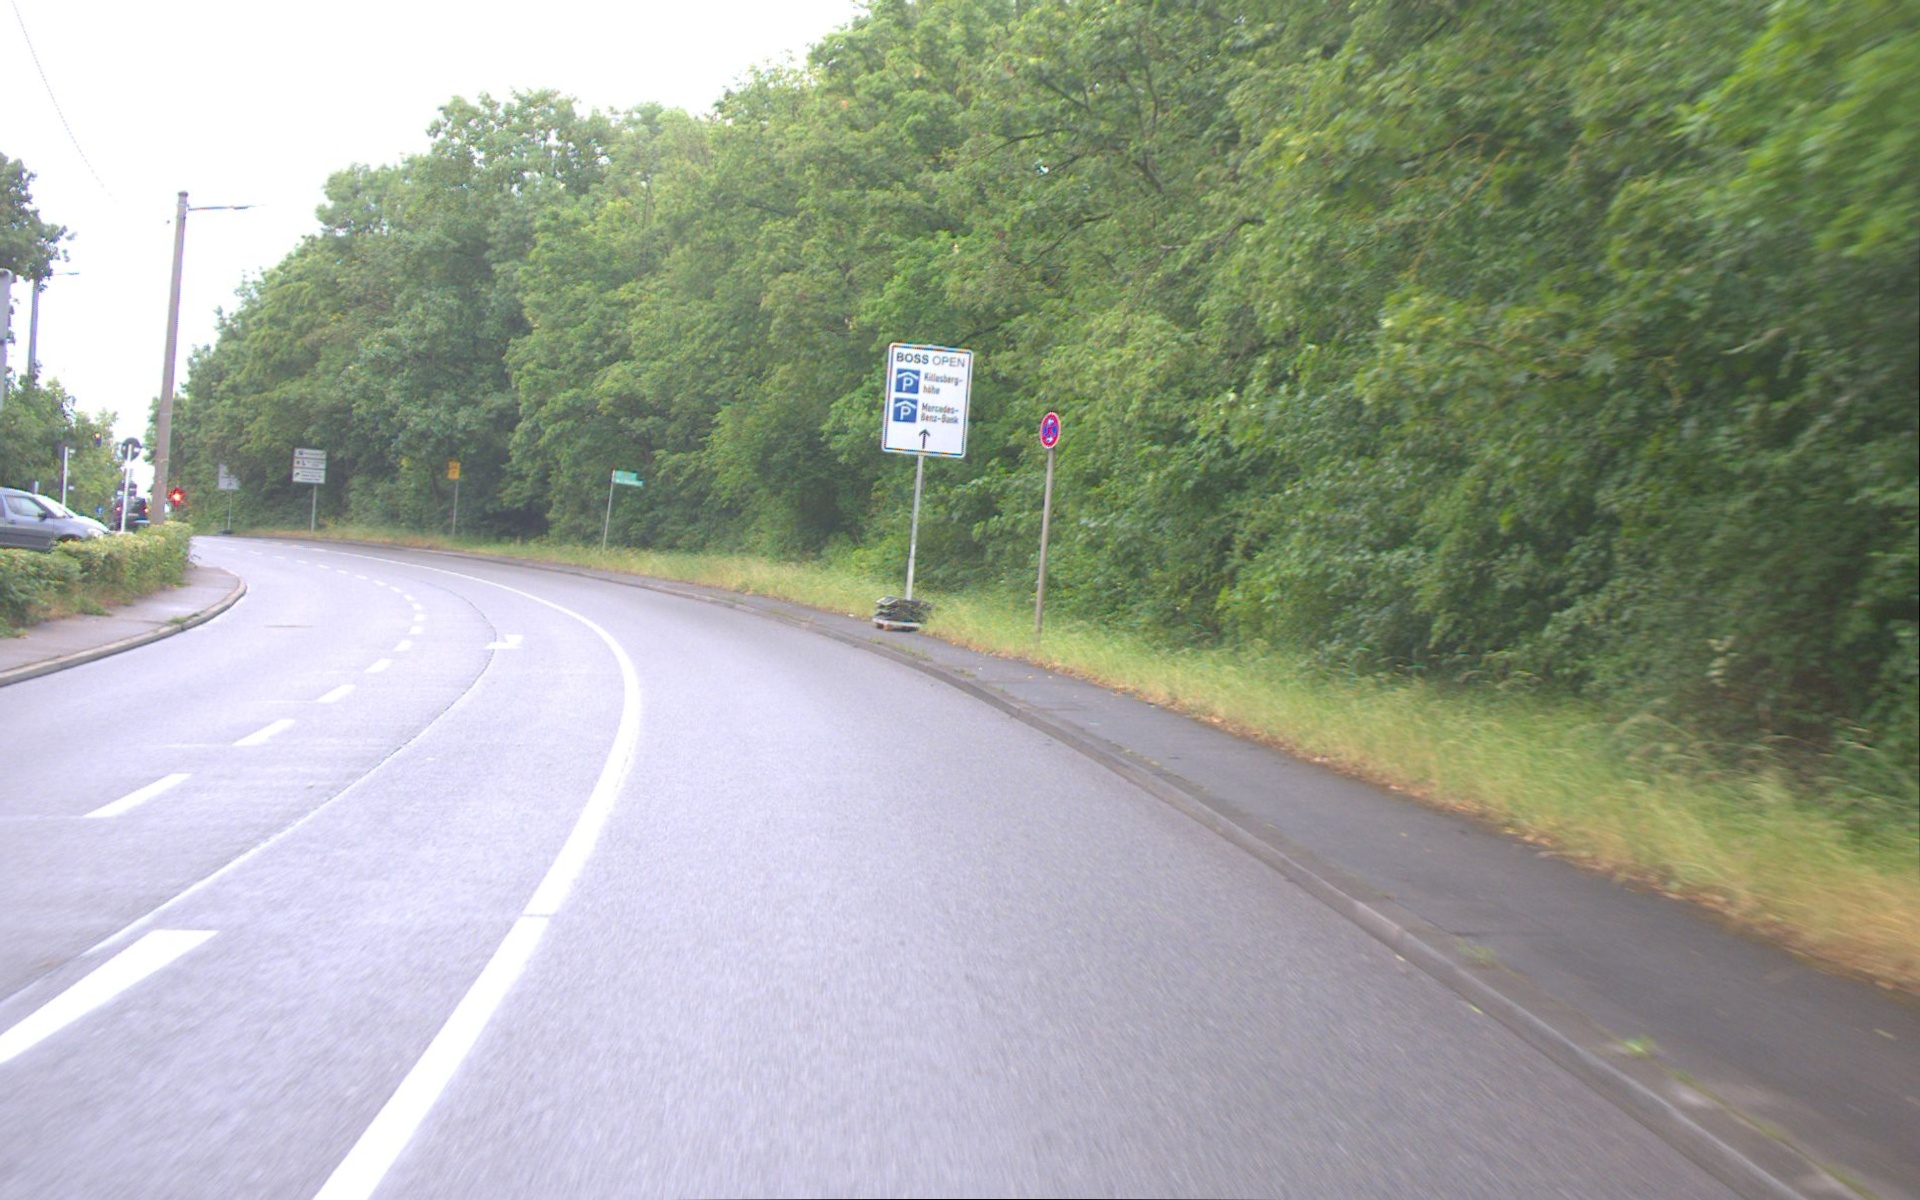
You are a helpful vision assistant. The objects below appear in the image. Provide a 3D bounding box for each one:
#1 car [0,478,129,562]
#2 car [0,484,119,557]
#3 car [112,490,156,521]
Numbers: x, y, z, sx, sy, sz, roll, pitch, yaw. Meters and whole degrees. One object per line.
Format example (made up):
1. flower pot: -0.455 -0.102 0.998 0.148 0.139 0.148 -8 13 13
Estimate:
1. car: -20.621 -1.807 75.694 4.290 1.702 2.001 2 1 -8
2. car: -21.791 -1.910 81.231 3.644 1.586 1.852 2 1 -15
3. car: -42.399 -4.848 176.389 1.934 1.493 4.320 2 1 -17
